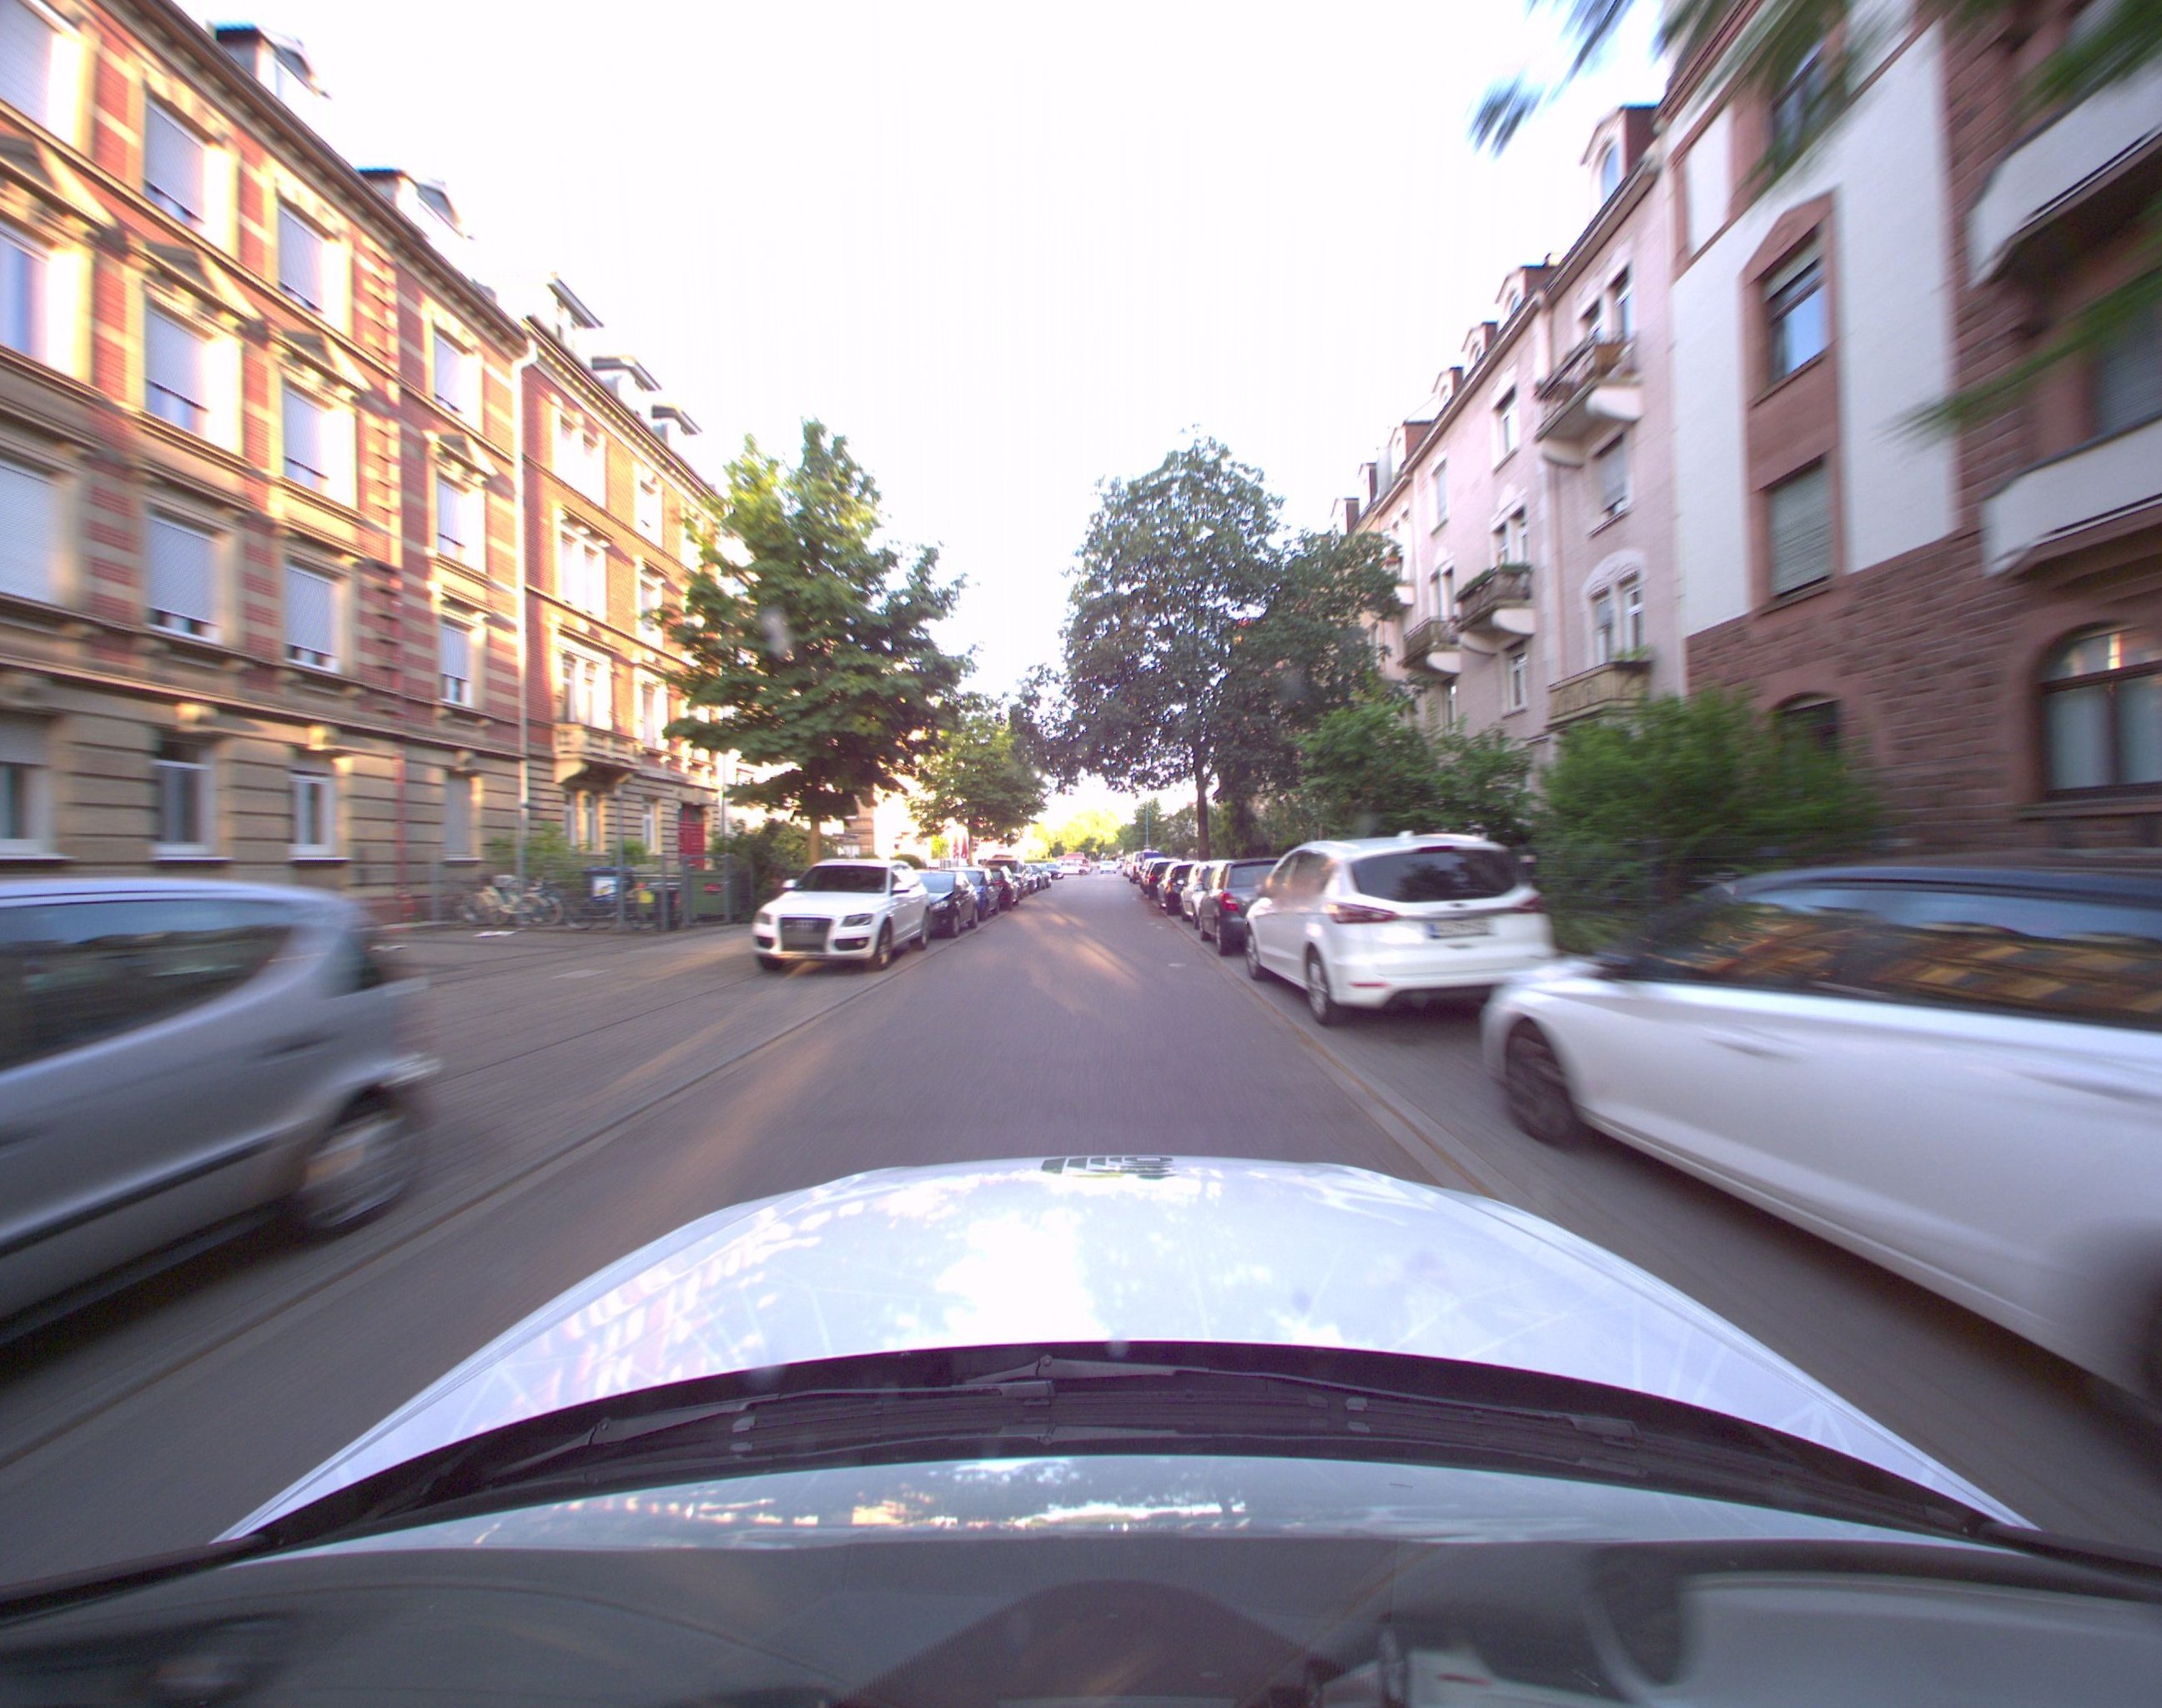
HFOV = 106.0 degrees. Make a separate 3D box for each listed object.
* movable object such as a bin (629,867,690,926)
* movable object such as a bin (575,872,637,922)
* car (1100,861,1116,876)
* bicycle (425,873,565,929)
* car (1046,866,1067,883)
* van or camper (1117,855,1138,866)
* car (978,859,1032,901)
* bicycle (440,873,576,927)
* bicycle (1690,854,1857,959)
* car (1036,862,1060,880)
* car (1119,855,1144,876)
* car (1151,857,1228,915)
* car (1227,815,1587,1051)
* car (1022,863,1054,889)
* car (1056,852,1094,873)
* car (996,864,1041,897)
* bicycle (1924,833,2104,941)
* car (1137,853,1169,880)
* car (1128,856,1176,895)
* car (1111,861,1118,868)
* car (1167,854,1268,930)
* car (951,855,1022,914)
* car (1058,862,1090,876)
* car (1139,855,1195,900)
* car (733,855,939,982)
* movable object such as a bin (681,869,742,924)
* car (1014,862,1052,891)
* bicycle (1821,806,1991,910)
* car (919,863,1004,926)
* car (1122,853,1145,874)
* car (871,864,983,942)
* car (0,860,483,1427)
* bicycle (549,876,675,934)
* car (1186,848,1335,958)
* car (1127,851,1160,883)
[{"bbox_3d":[-10.518,1.040,20.361,1.097,1.414,1.001,0,0,-13],"label":"movable object such as a bin"},{"bbox_3d":[-12.065,1.086,20.713,1.097,1.209,1.001,0,0,-13],"label":"movable object such as a bin"},{"bbox_3d":[3.231,1.697,96.545,1.806,1.596,3.484,-1,0,1],"label":"car"},{"bbox_3d":[-13.219,1.063,18.440,2.528,1.192,0.641,1,0,-10],"label":"bicycle"},{"bbox_3d":[-2.299,1.925,77.321,1.709,1.441,3.633,-1,0,2],"label":"car"},{"bbox_3d":[12.384,1.605,216.803,5.263,2.791,1.547,-1,0,-10],"label":"van or camper"},{"bbox_3d":[-3.131,1.044,34.542,1.709,1.596,4.520,-1,-1,2],"label":"car"},{"bbox_3d":[-13.301,1.059,18.956,2.528,1.192,0.641,1,0,-10],"label":"bicycle"},{"bbox_3d":[7.471,0.558,8.798,1.505,1.034,0.330,-3,0,-1],"label":"bicycle"},{"bbox_3d":[-2.881,1.526,71.710,1.709,1.486,3.632,-1,-1,2],"label":"car"},{"bbox_3d":[4.176,0.950,67.802,1.682,1.606,3.938,-1,-1,-1],"label":"car"},{"bbox_3d":[3.055,0.875,23.704,1.681,1.441,4.210,-4,-1,1],"label":"car"},{"bbox_3d":[2.880,0.626,8.459,1.793,1.711,4.598,-2,-1,-1],"label":"car"},{"bbox_3d":[-2.581,1.327,49.502,1.593,1.441,3.840,-1,0,2],"label":"car"},{"bbox_3d":[-0.674,1.030,94.540,4.336,2.318,1.745,-1,0,-1],"label":"car"},{"bbox_3d":[-2.979,1.248,39.511,1.709,1.465,3.988,-1,0,1],"label":"car"},{"bbox_3d":[9.769,0.334,8.543,1.505,1.034,0.330,-3,0,-1],"label":"bicycle"},{"bbox_3d":[4.233,0.751,48.298,1.534,1.521,3.430,-1,-1,-1],"label":"car"},{"bbox_3d":[3.077,0.921,35.925,1.682,1.606,3.938,-1,-1,-1],"label":"car"},{"bbox_3d":[7.838,2.393,191.508,1.709,1.596,3.484,-1,0,1],"label":"car"},{"bbox_3d":[3.140,0.841,19.381,1.682,1.606,3.746,-1,-1,-1],"label":"car"},{"bbox_3d":[-3.057,0.940,27.114,1.709,1.790,4.217,-1,0,2],"label":"car"},{"bbox_3d":[-0.778,1.661,91.941,3.609,1.461,1.605,-1,0,-3],"label":"car"},{"bbox_3d":[3.275,0.900,31.794,1.682,1.606,3.938,-1,-1,-1],"label":"car"},{"bbox_3d":[-3.779,0.895,13.462,1.914,1.717,4.429,-1,0,1],"label":"car"},{"bbox_3d":[-9.280,1.048,20.506,1.007,1.321,1.007,1,0,6],"label":"movable object such as a bin"},{"bbox_3d":[-2.534,1.202,43.893,1.709,1.441,3.632,-1,0,1],"label":"car"},{"bbox_3d":[8.974,0.037,8.874,1.505,1.034,0.330,-3,0,-1],"label":"bicycle"},{"bbox_3d":[-3.313,1.085,23.209,1.709,1.566,3.789,-1,0,1],"label":"car"},{"bbox_3d":[4.654,0.856,72.475,1.682,1.811,3.938,-1,-1,-1],"label":"car"},{"bbox_3d":[-3.415,1.051,18.709,1.709,1.566,3.782,-1,-1,1],"label":"car"},{"bbox_3d":[-3.887,0.845,2.360,1.591,1.603,3.741,-1,0,-2],"label":"car"},{"bbox_3d":[-10.395,1.115,18.076,2.515,1.192,0.645,1,0,7],"label":"bicycle"},{"bbox_3d":[2.955,0.761,14.275,1.681,1.606,4.209,-1,-1,0],"label":"car"},{"bbox_3d":[3.962,0.820,52.029,1.675,1.941,3.878,-1,-1,-1],"label":"car"}]
